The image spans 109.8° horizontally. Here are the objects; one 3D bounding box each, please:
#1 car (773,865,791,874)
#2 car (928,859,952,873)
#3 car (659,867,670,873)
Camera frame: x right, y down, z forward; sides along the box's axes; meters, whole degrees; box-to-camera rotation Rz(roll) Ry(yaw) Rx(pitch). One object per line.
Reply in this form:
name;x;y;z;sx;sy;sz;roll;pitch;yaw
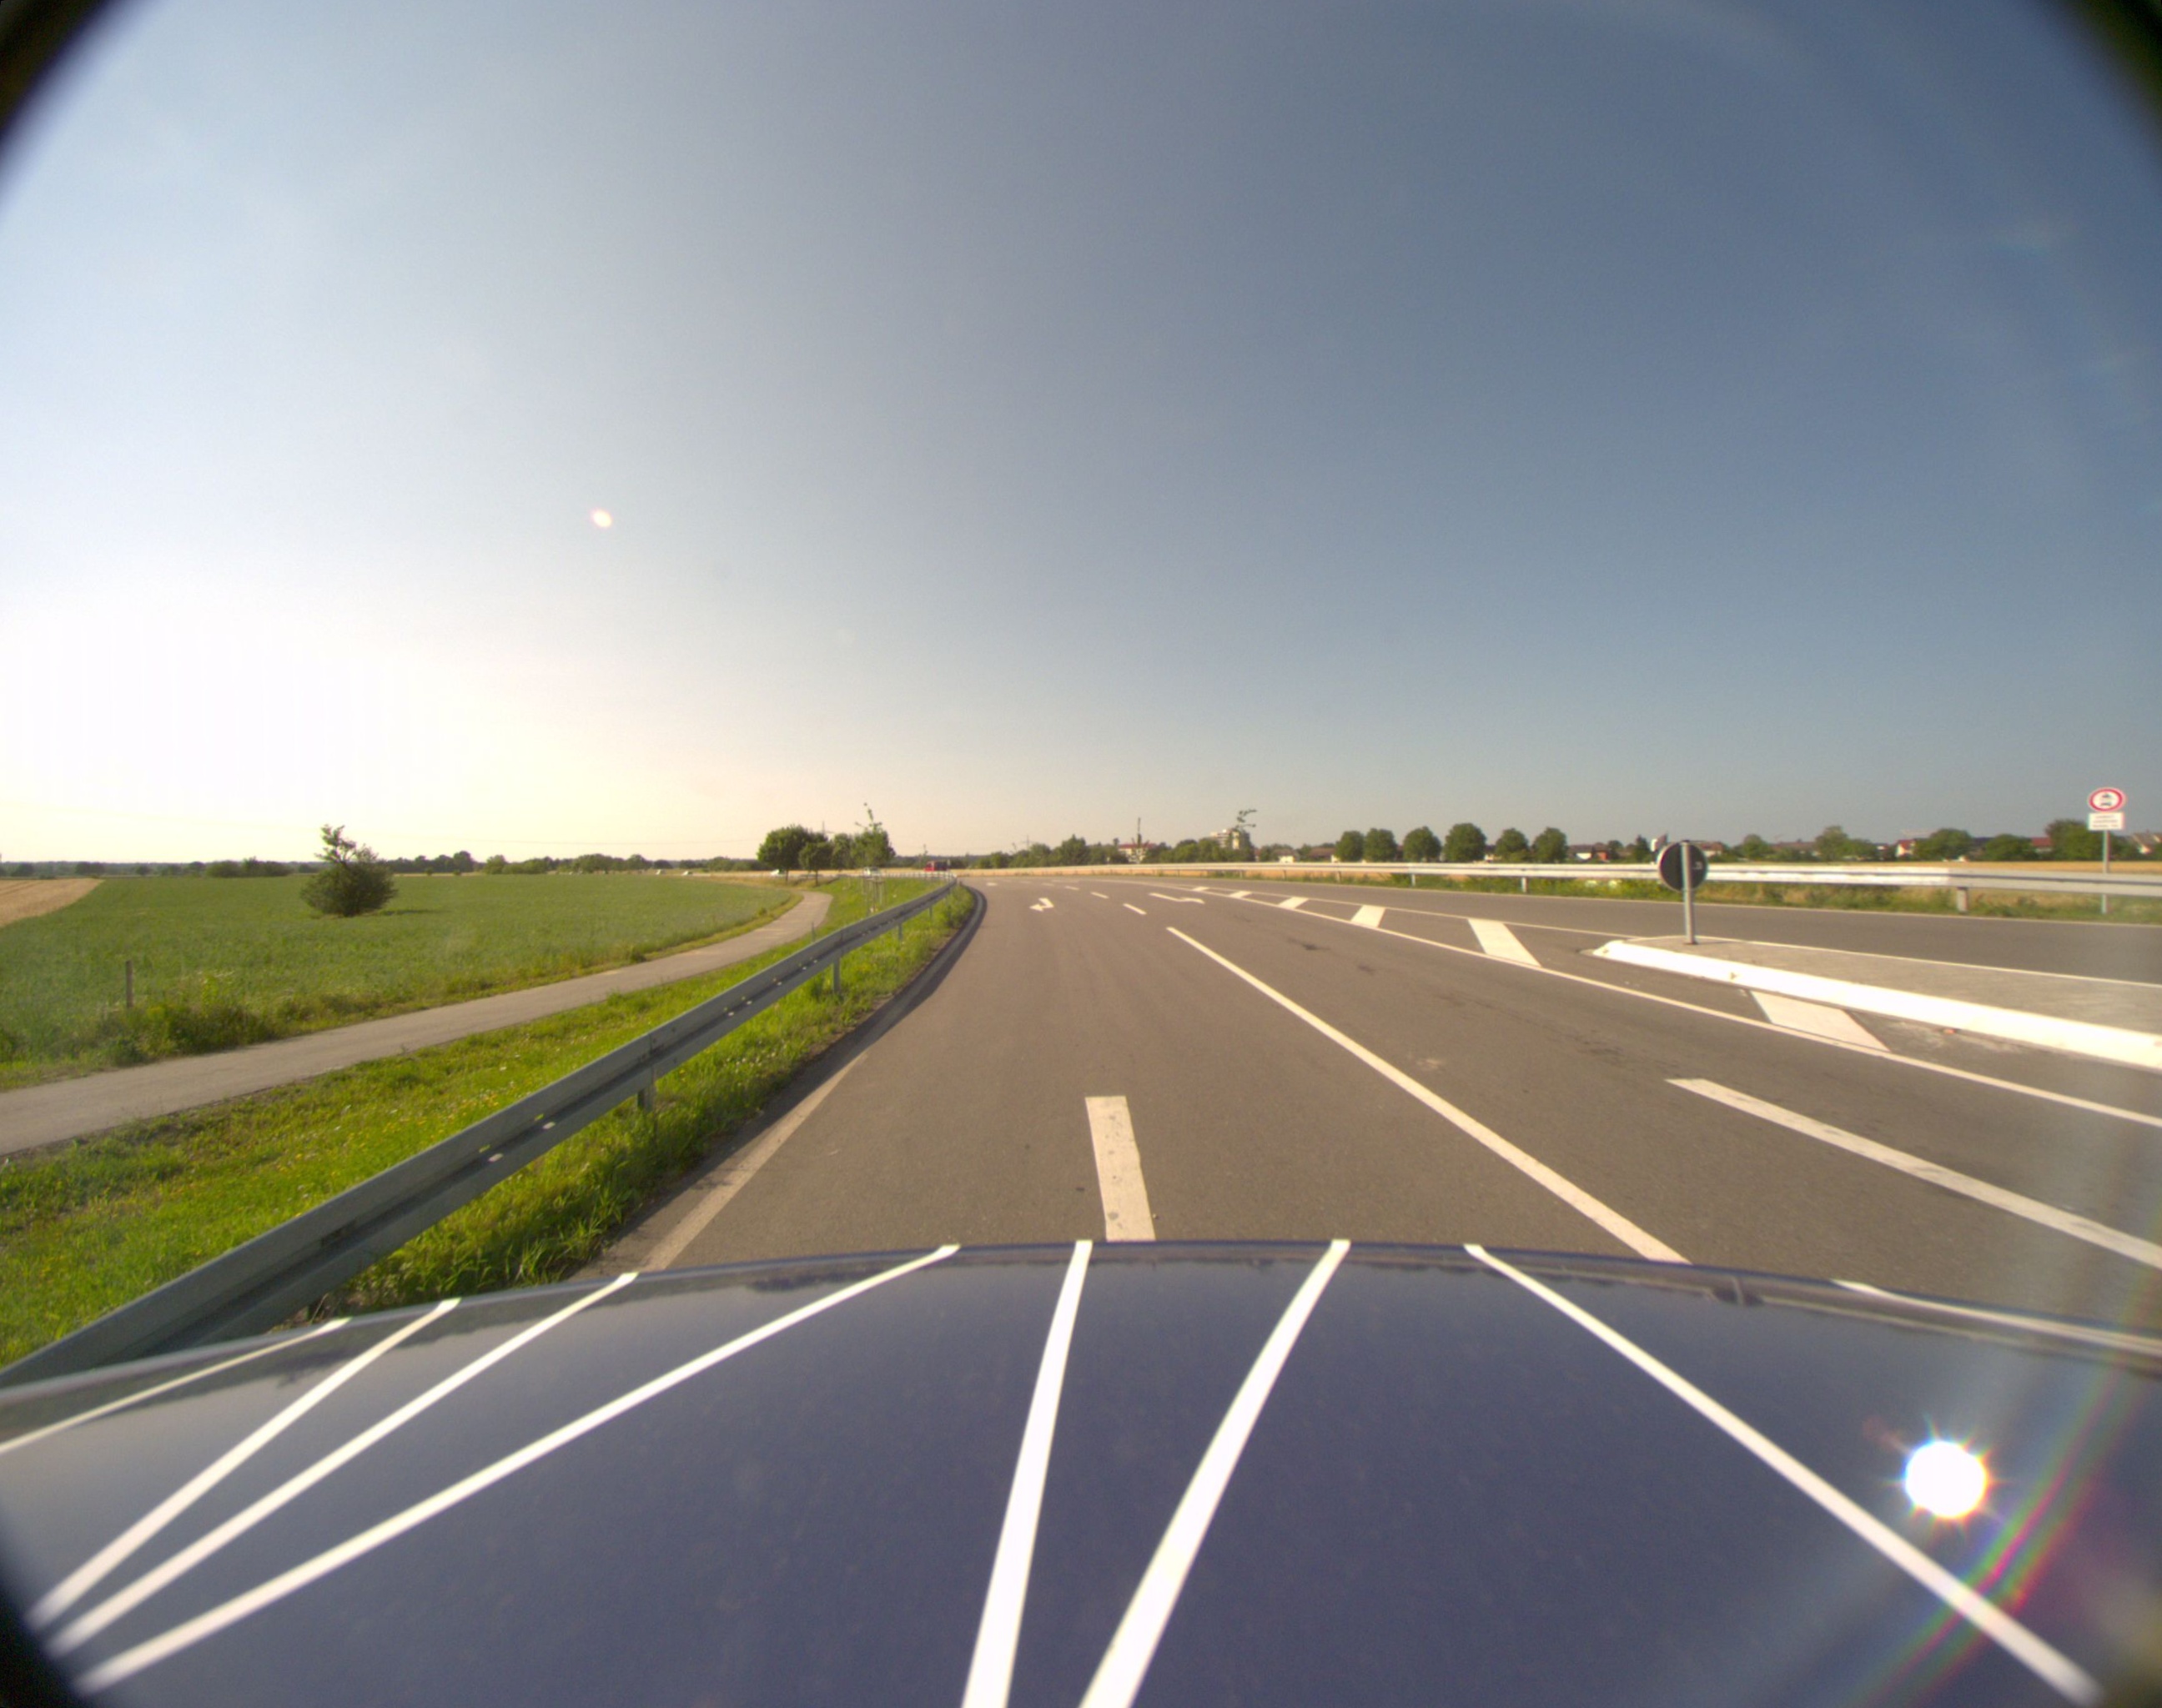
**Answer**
car;-60.831;3.132;154.603;2.004;1.746;3.989;-1;-1;-42
car;-17.406;1.464;93.732;1.817;1.663;3.992;-3;1;-26
car;-125.420;4.788;228.810;2.004;1.746;3.989;-1;-1;-42
